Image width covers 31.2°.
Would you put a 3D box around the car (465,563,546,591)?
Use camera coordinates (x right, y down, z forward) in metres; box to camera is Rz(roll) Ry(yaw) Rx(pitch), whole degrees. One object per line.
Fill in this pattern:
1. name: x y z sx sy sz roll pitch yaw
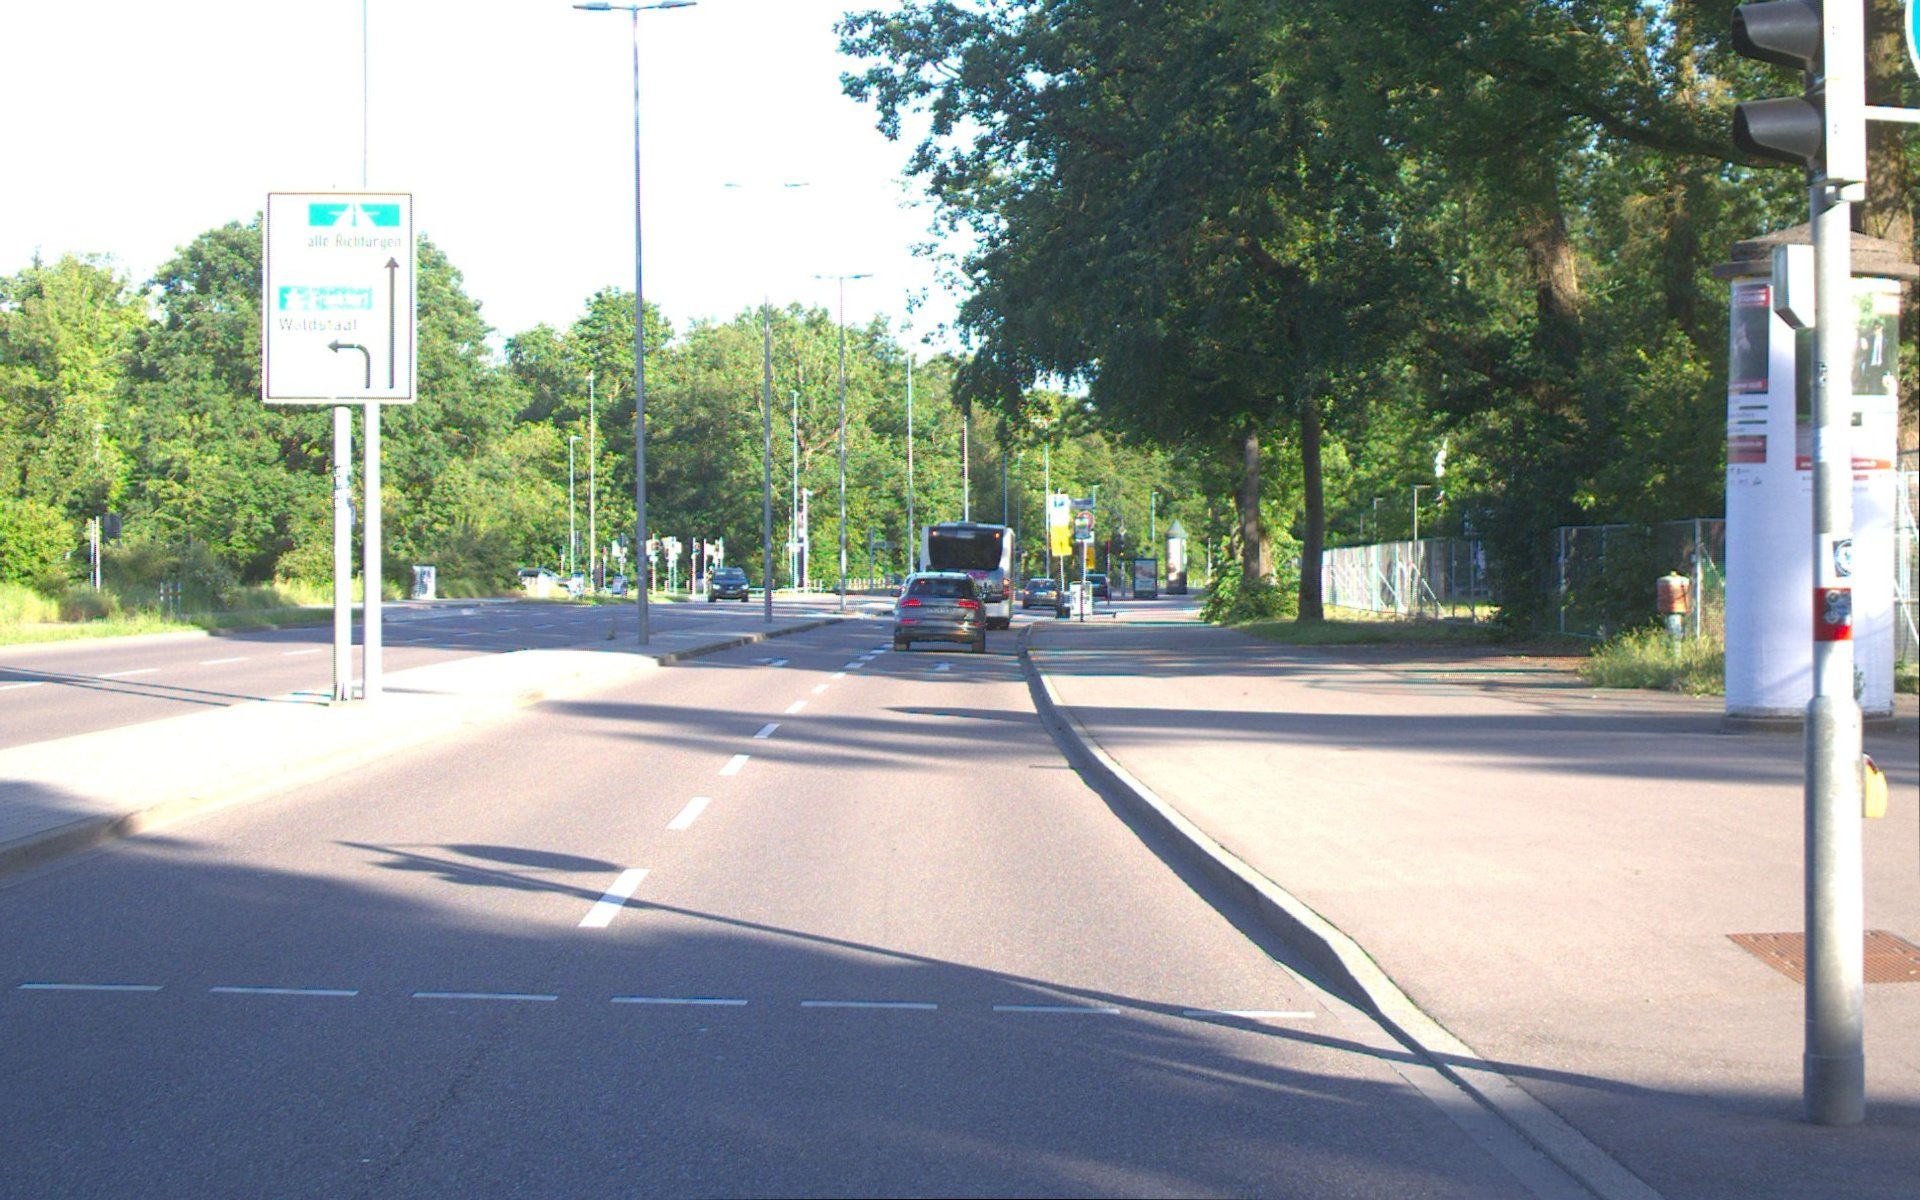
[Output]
1. car: -22.952 -1.182 173.533 3.665 1.349 1.738 -1 1 -32

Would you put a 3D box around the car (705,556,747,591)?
1. car: -11.469 -1.301 168.826 1.863 1.678 3.773 0 1 -1

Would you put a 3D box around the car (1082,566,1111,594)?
1. car: 8.428 -1.235 212.271 1.592 1.600 3.584 2 0 1

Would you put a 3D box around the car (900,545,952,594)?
1. car: -1.265 -1.154 127.245 1.880 1.759 4.000 0 1 -1

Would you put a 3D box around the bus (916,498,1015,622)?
1. bus: 0.098 -1.191 99.230 2.605 3.357 7.976 1 1 -1

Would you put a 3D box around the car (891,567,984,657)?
1. car: -0.478 0.217 71.566 1.880 1.759 4.000 0 1 -1

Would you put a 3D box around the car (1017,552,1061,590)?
1. car: 3.631 -1.354 157.587 1.863 1.678 3.772 0 1 3
